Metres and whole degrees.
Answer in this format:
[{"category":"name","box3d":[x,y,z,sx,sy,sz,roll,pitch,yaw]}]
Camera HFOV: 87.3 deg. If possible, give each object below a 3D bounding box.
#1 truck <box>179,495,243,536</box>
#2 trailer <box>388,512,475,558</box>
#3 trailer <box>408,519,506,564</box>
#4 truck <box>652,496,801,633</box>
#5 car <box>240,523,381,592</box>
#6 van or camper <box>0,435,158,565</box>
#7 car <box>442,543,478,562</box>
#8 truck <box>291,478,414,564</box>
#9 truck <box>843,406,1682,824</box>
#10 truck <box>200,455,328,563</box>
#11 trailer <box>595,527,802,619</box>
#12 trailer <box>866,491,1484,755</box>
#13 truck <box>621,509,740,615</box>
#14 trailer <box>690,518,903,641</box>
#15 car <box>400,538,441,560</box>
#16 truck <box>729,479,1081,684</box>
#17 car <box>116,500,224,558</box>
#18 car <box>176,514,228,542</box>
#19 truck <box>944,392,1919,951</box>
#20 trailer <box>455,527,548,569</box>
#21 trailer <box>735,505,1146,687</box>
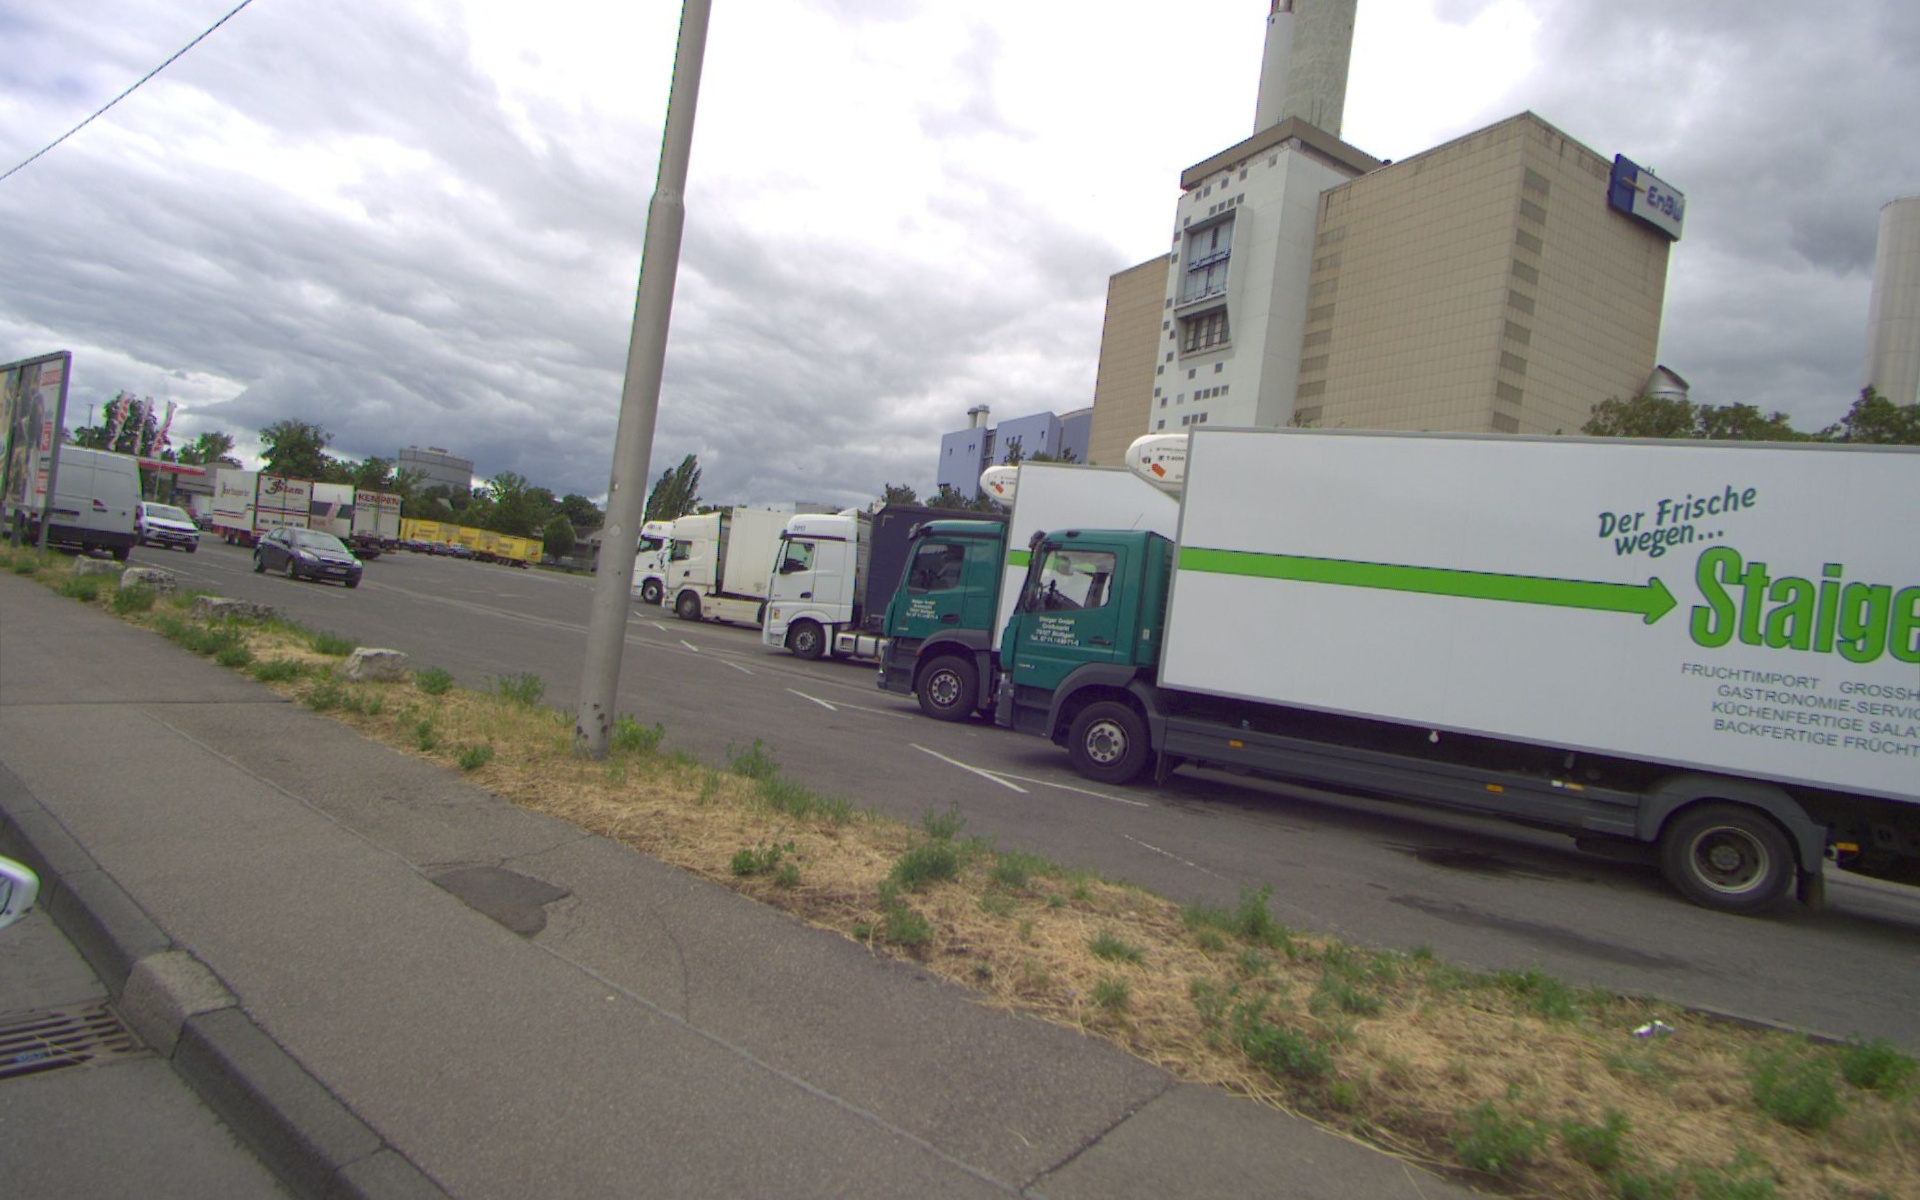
[{"category":"truck","box3d":[-75.043,-8.486,100.725,7.397,3.183,3.174,8,0,39]},{"category":"trailer","box3d":[-63.316,-7.844,120.321,14.694,4.201,2.869,8,0,37]},{"category":"trailer","box3d":[-63.143,-7.384,125.951,17.759,3.911,3.596,8,0,39]},{"category":"truck","box3d":[-8.447,-1.259,36.468,4.004,4.264,2.706,8,0,25]},{"category":"car","box3d":[-19.129,-1.260,29.574,4.360,1.461,1.892,6,-3,36]},{"category":"van or camper","box3d":[-22.671,-2.546,25.478,6.024,2.679,2.255,6,-1,39]},{"category":"car","box3d":[-55.372,-5.275,111.432,3.940,1.637,1.993,7,-1,38]},{"category":"truck","box3d":[-35.269,-4.619,58.256,8.391,4.196,3.304,7,0,40]},{"category":"truck","box3d":[3.767,-0.100,14.805,10.368,4.483,2.990,6,-2,24]},{"category":"truck","box3d":[-38.588,-5.070,55.631,8.391,5.155,3.305,7,0,40]},{"category":"trailer","box3d":[-17.692,-1.863,67.570,14.154,4.259,3.109,8,0,23]},{"category":"trailer","box3d":[4.544,0.340,23.452,12.856,4.026,3.065,8,0,17]},{"category":"truck","box3d":[-13.064,-1.752,47.121,4.079,4.267,2.787,8,0,22]},{"category":"trailer","box3d":[-7.328,-0.937,44.836,8.775,4.242,2.768,8,0,21]},{"category":"car","box3d":[-51.785,-4.927,96.515,3.940,1.637,1.993,7,-1,38]},{"category":"truck","box3d":[-1.328,-0.450,25.291,7.885,4.050,3.075,7,-1,18]},{"category":"car","box3d":[-29.043,-2.622,36.956,4.360,1.631,1.891,6,-1,36]},{"category":"car","box3d":[-59.398,-5.670,78.825,4.123,1.726,1.994,6,-1,36]},{"category":"truck","box3d":[5.267,0.411,9.833,10.251,3.874,2.988,7,-2,27]},{"category":"trailer","box3d":[-62.190,-7.136,135.968,17.759,3.911,3.596,8,0,39]},{"category":"trailer","box3d":[-0.977,-0.282,32.907,13.246,4.230,2.705,7,0,25]}]
